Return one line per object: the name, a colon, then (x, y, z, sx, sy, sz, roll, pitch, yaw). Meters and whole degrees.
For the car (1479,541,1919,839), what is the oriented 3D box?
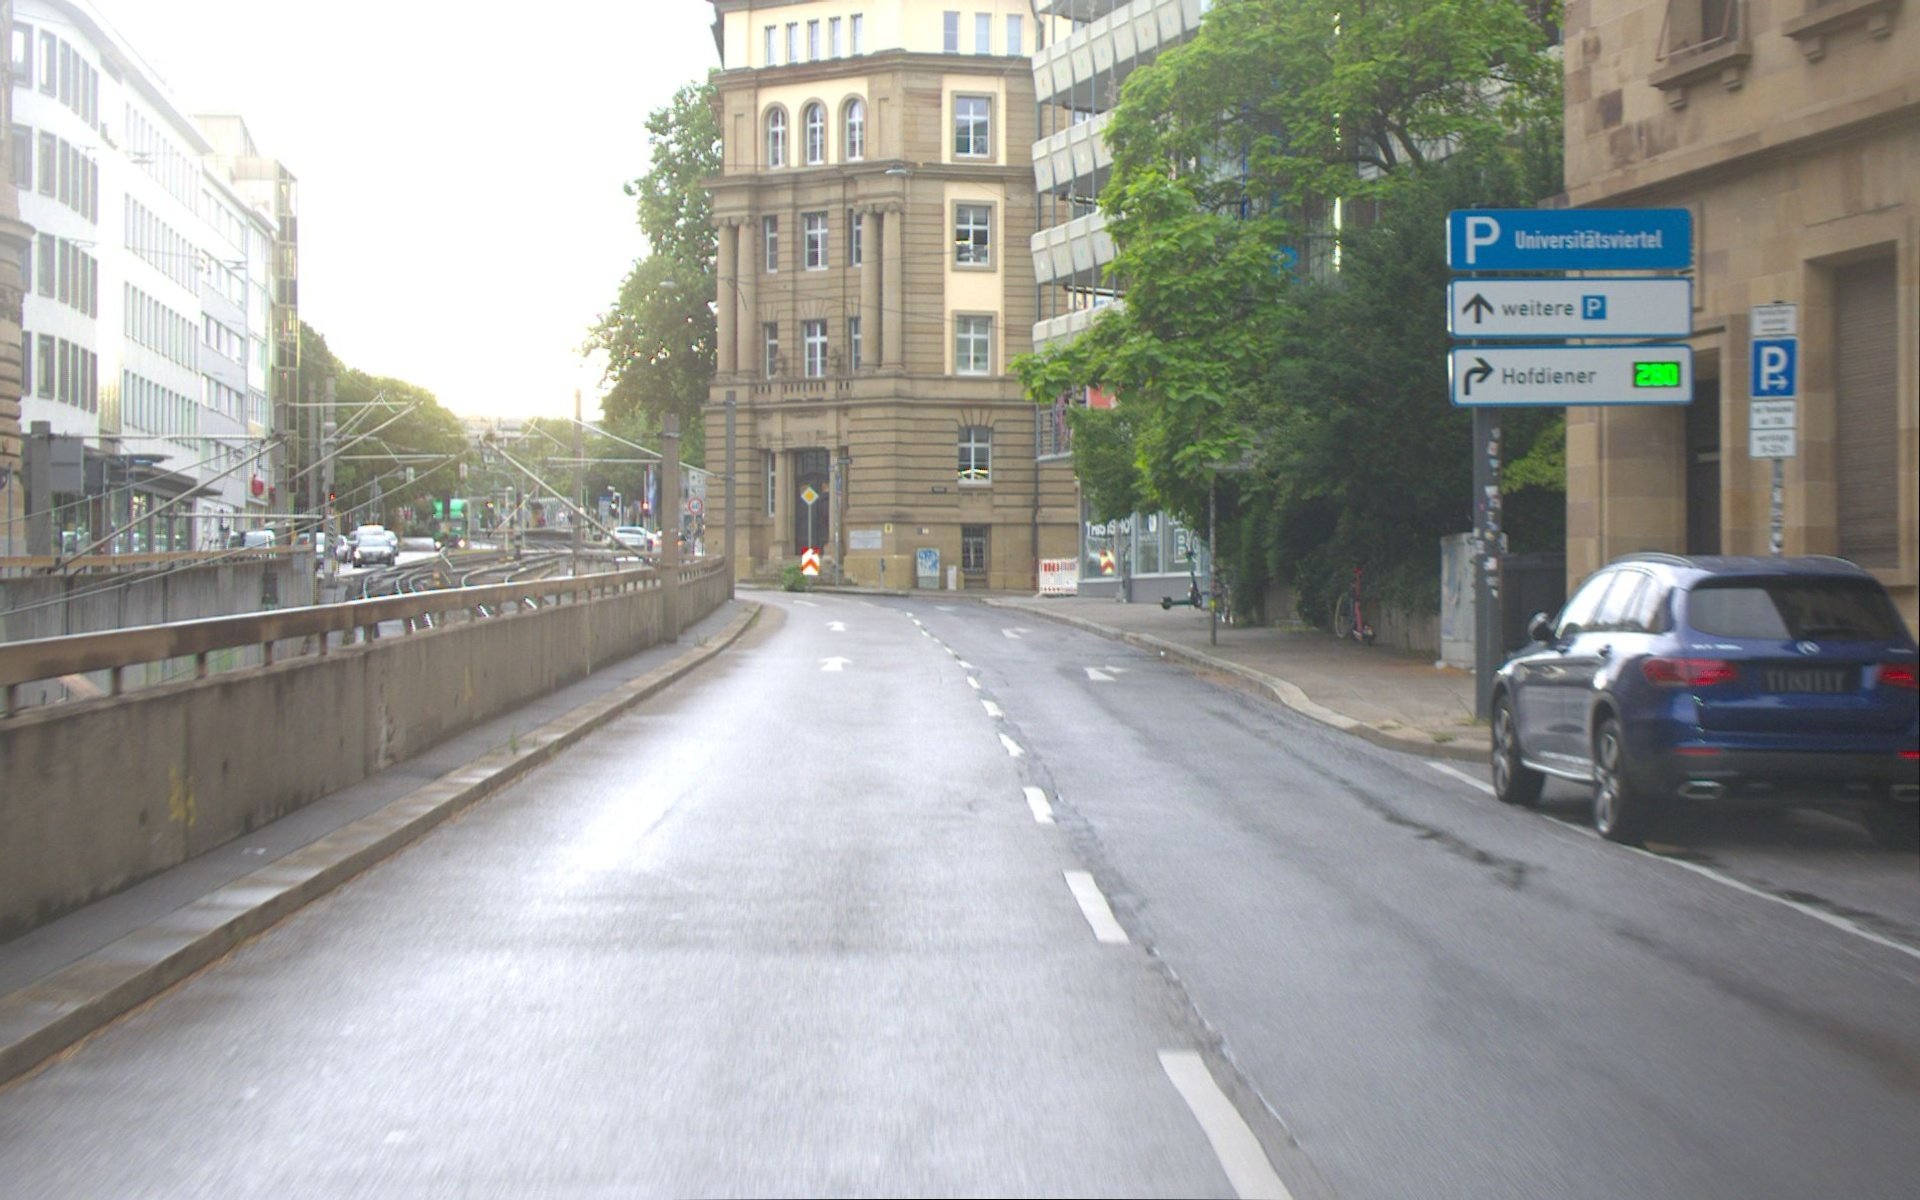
car: (4.466, 0.472, 20.770, 1.768, 1.614, 4.158, 0, 1, -4)

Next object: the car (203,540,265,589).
car: (-29.096, -1.457, 137.940, 1.993, 1.876, 4.928, 1, 1, -7)

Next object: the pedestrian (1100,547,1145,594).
pedestrian: (4.036, -0.736, 85.603, 0.752, 1.119, 1.247, 1, 1, -16)

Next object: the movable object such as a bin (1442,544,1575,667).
movable object such as a bin: (6.115, 0.053, 38.399, 1.239, 1.305, 1.234, -2, 1, -1)

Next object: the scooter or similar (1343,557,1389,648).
scooter or similar: (5.816, 0.028, 49.281, 0.447, 1.255, 1.211, -1, 1, -2)

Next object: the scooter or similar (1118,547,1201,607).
scooter or similar: (4.367, -0.515, 75.249, 1.635, 1.263, 0.743, -2, 2, -26)

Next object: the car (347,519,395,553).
car: (-27.261, -2.960, 159.110, 1.993, 1.522, 3.664, 1, 1, -7)
